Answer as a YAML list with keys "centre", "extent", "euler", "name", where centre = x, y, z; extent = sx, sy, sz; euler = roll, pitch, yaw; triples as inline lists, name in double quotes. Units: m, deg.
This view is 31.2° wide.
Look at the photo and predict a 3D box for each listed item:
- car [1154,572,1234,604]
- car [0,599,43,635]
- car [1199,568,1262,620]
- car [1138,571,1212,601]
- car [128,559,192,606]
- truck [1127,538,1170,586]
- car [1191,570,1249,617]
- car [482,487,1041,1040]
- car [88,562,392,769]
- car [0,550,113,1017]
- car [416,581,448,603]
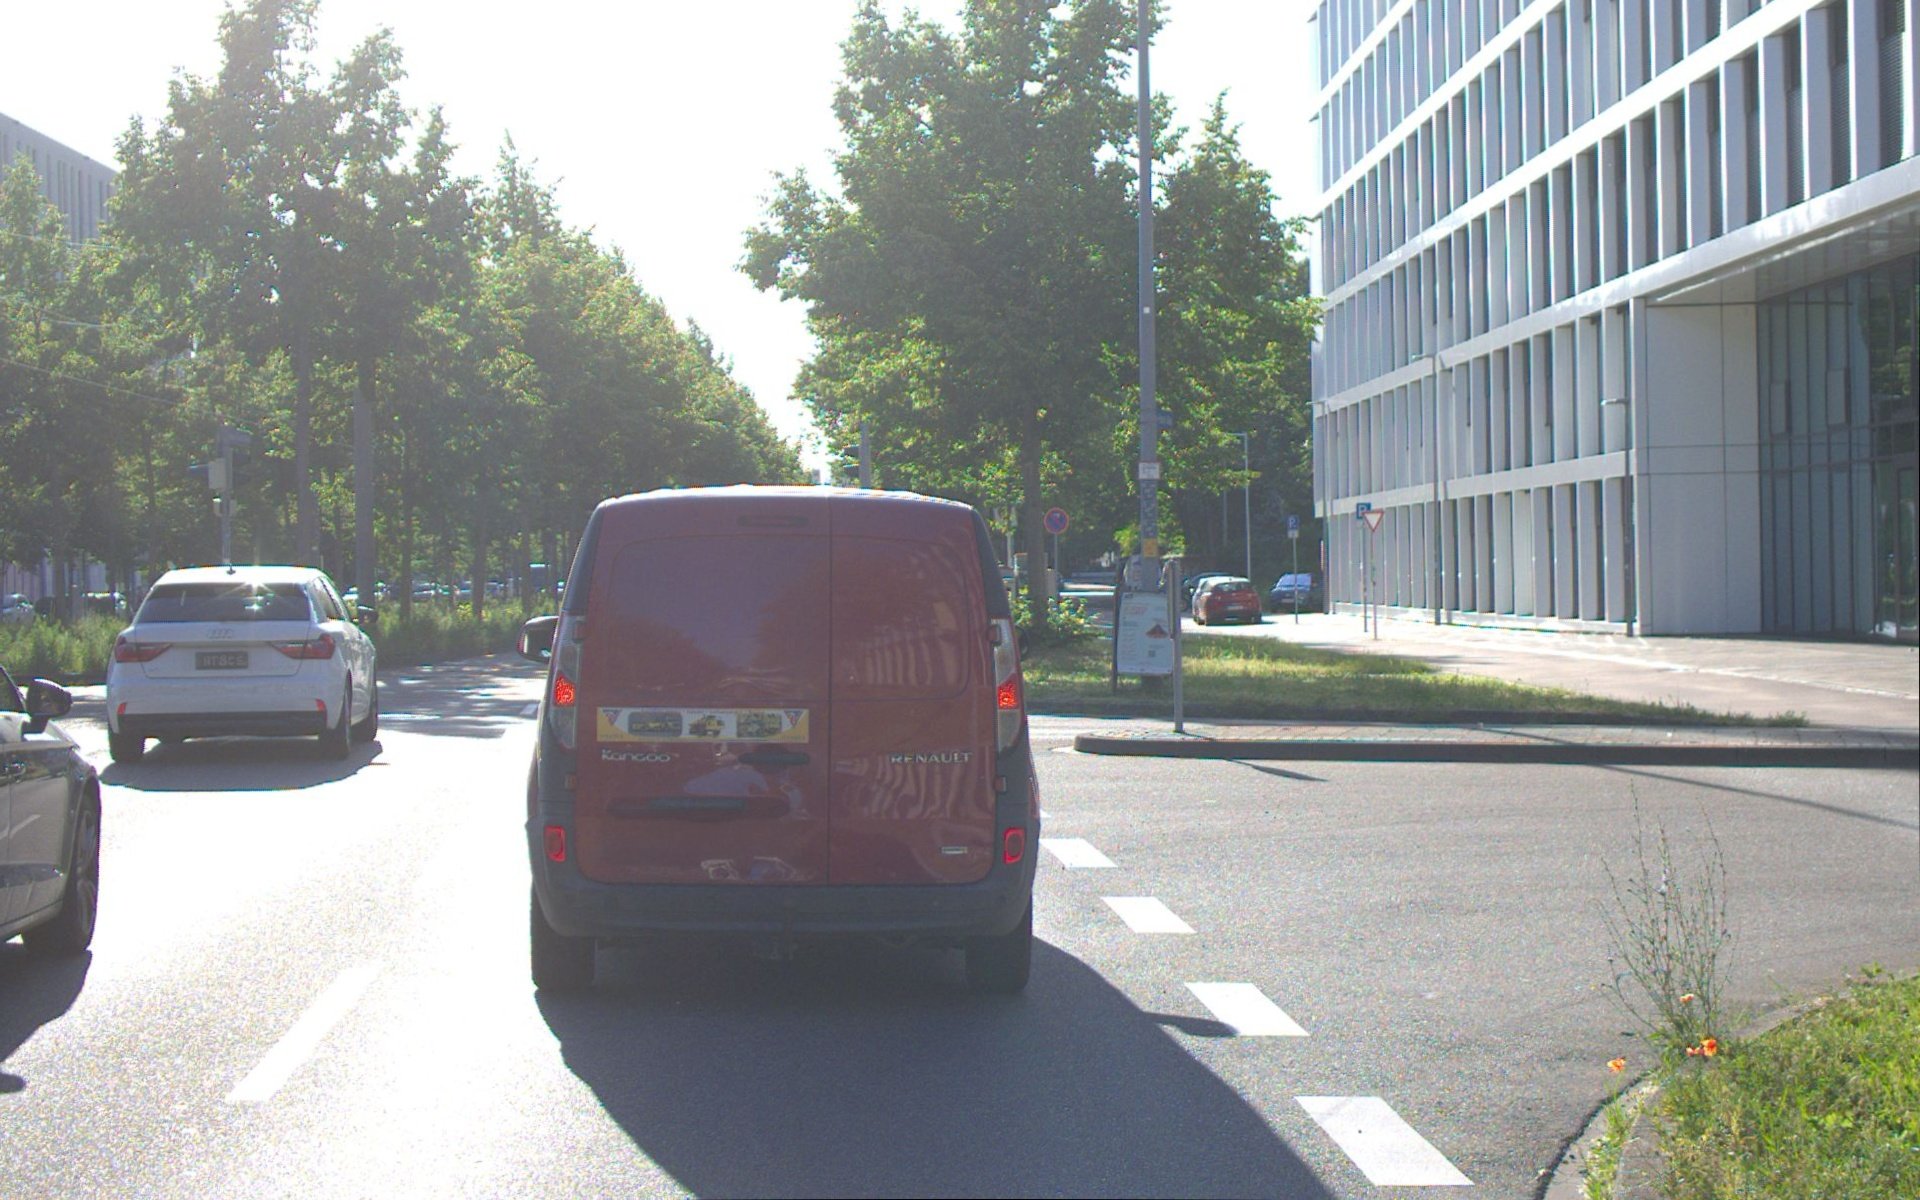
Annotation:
- centre: [10.199, -0.529, 149.462]
  extent: [3.399, 1.354, 1.470]
  euler: [-1, 0, 6]
  name: "car"
- centre: [-36.440, 0.663, 131.906]
  extent: [1.580, 1.338, 3.712]
  euler: [-1, 0, -1]
  name: "car"
- centre: [8.672, -0.199, 110.448]
  extent: [1.758, 1.606, 3.903]
  euler: [-1, 1, 1]
  name: "car"
- centre: [10.080, -0.654, 161.151]
  extent: [3.399, 1.354, 1.470]
  euler: [-1, 0, 6]
  name: "car"
- centre: [-35.242, -0.779, 151.507]
  extent: [1.993, 2.007, 4.000]
  euler: [-1, 1, -2]
  name: "car"
- centre: [9.922, -1.981, 181.201]
  extent: [1.831, 2.492, 5.933]
  euler: [-1, 0, -1]
  name: "truck"
- centre: [8.737, -0.230, 115.653]
  extent: [1.819, 1.527, 3.437]
  euler: [-1, 0, 3]
  name: "car"
- centre: [-0.645, 0.514, 13.344]
  extent: [1.808, 1.788, 4.113]
  euler: [-1, 1, 0]
  name: "car"
- centre: [-5.429, 0.441, 26.378]
  extent: [1.808, 1.430, 4.113]
  euler: [-1, 1, -5]
  name: "car"
- centre: [-4.052, 0.611, 11.283]
  extent: [1.808, 1.522, 4.113]
  euler: [-1, 1, -5]
  name: "car"
- centre: [-38.167, -0.576, 248.434]
  extent: [1.755, 1.568, 4.000]
  euler: [-1, 0, -1]
  name: "car"
